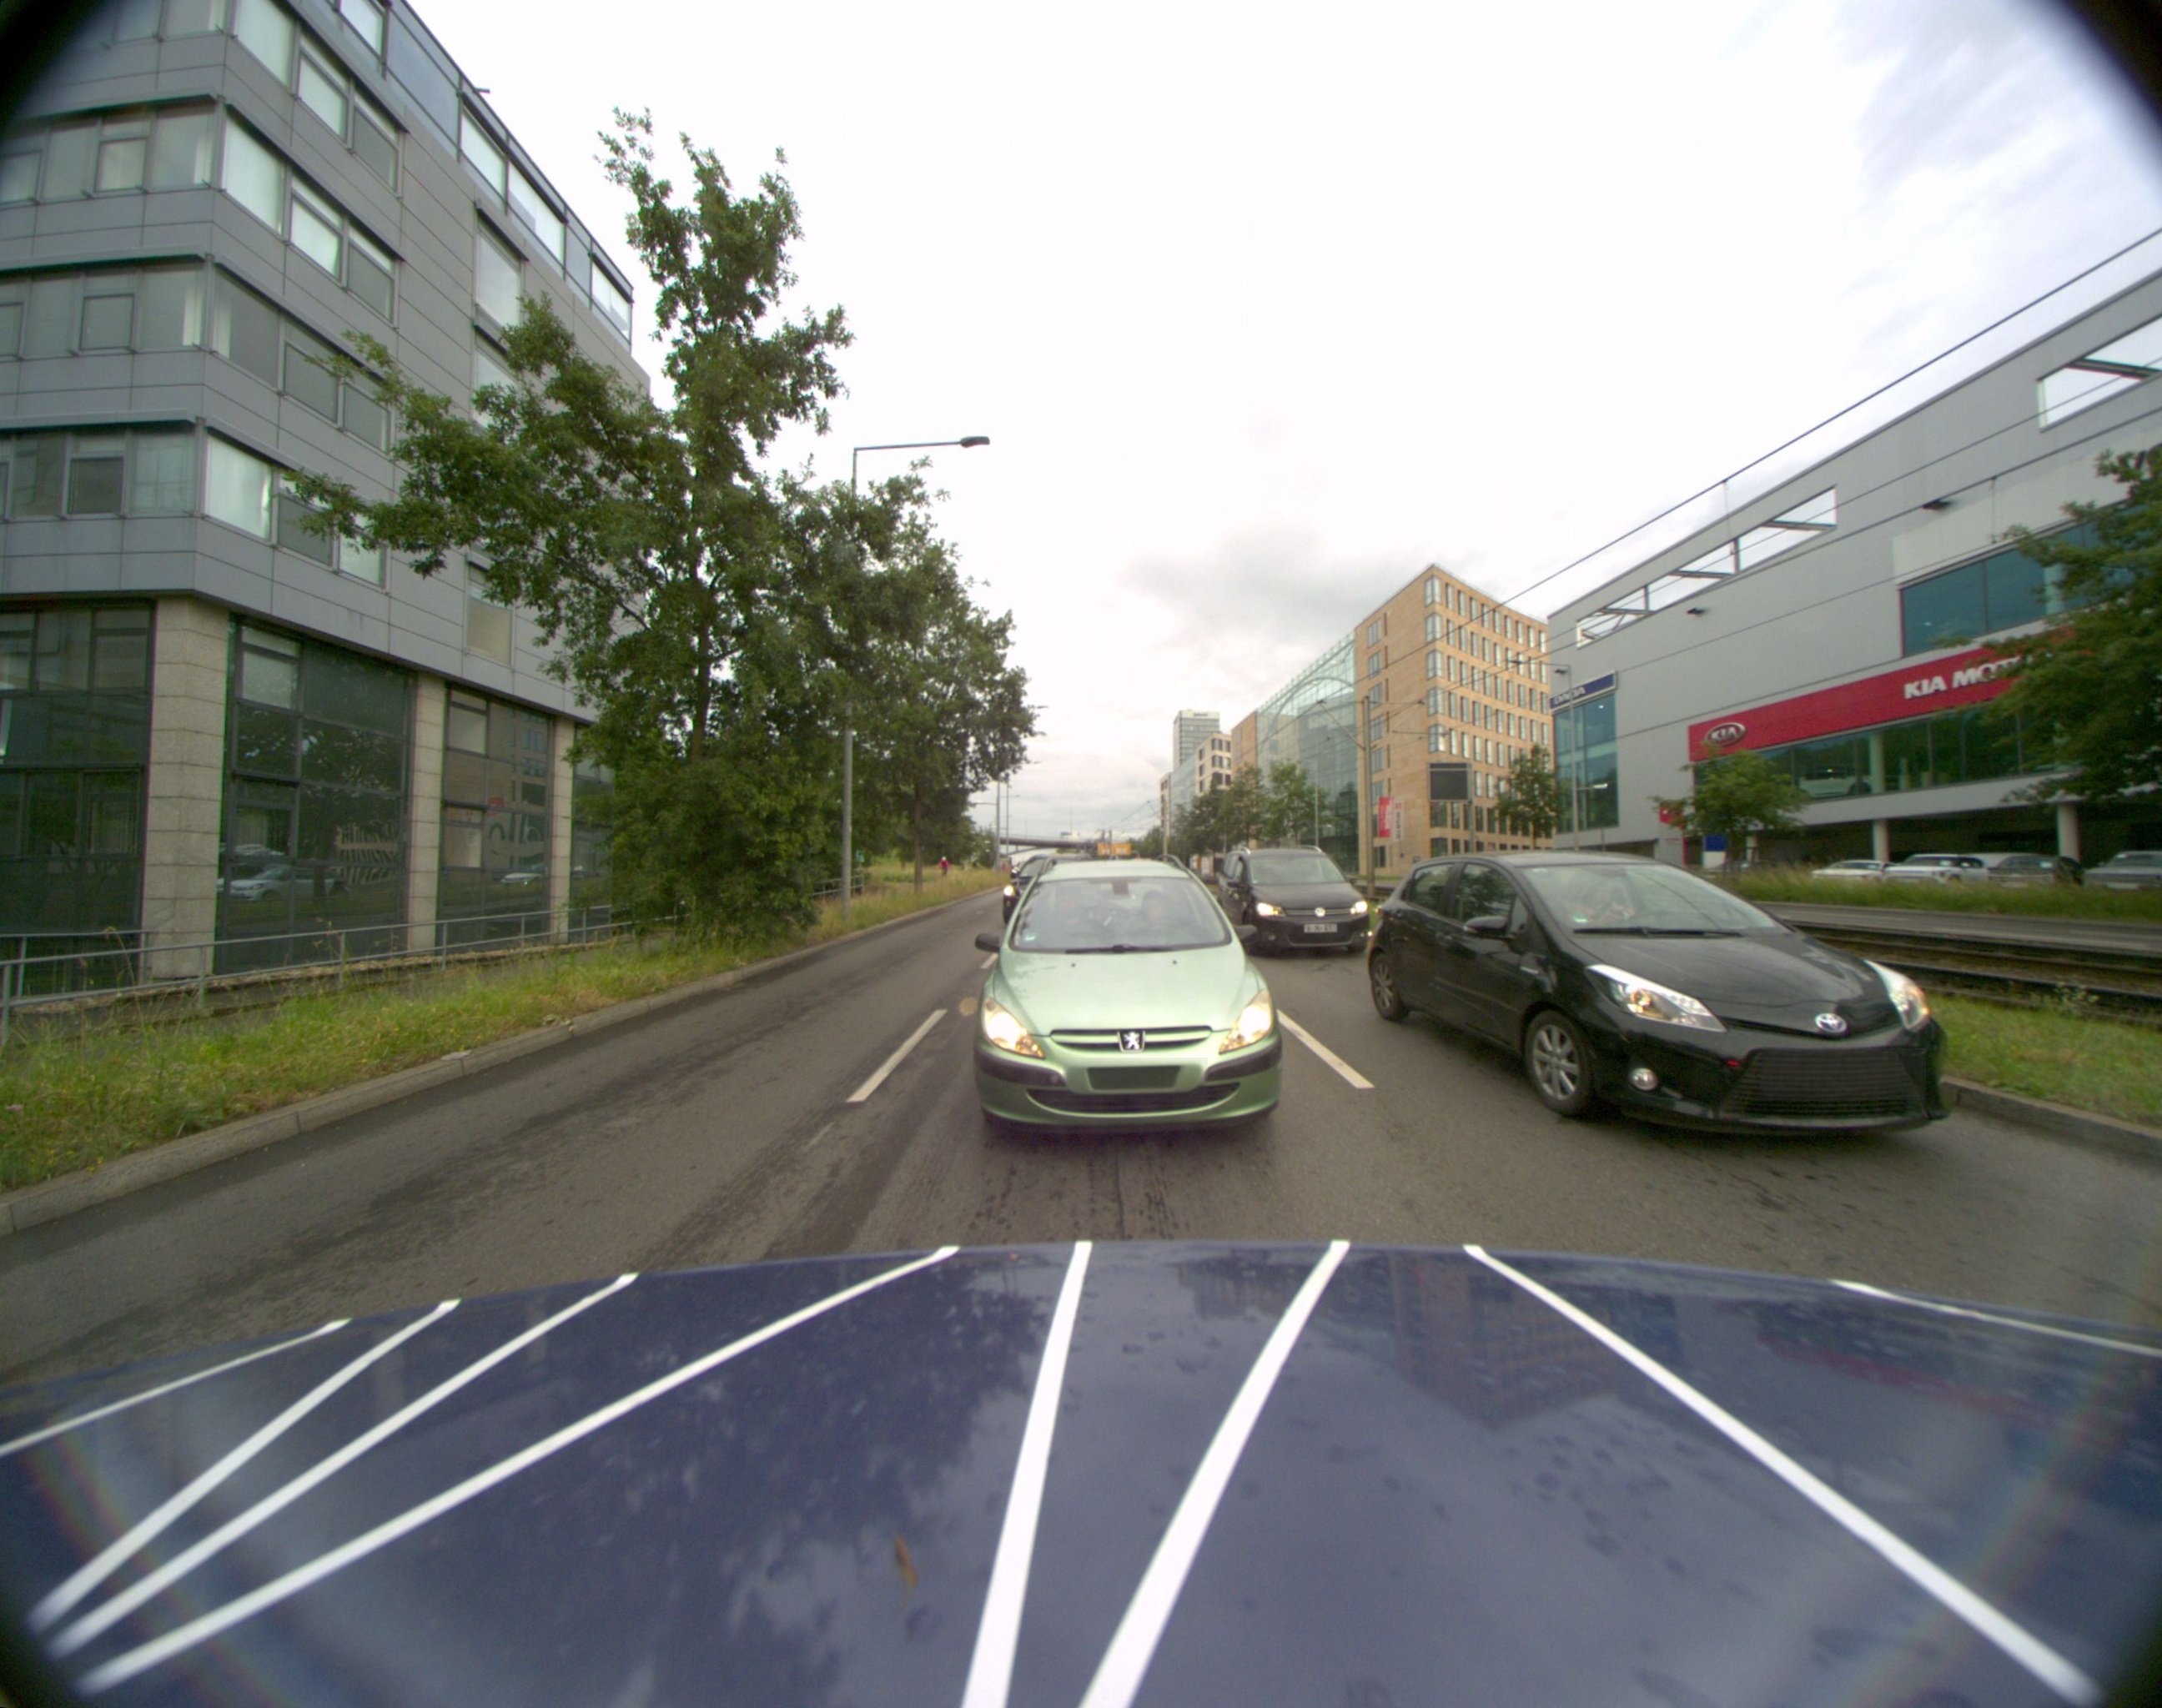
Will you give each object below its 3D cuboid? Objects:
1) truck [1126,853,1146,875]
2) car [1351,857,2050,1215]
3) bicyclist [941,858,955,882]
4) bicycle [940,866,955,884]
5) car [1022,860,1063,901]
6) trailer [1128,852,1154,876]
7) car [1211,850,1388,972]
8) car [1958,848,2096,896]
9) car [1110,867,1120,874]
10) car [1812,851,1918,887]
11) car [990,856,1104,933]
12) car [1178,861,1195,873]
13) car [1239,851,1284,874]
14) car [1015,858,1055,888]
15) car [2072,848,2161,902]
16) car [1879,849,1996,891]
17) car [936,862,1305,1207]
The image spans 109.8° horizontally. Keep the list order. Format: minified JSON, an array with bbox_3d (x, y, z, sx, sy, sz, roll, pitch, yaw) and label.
[{"bbox_3d":[11.009,1.902,153.047,3.144,4.219,7.026,2,0,-3],"label":"truck"},{"bbox_3d":[3.429,0.810,5.274,1.704,1.523,3.826,-1,0,-1],"label":"car"},{"bbox_3d":[-8.855,1.055,50.612,0.647,1.569,0.855,-2,0,1],"label":"bicyclist"},{"bbox_3d":[-8.861,1.396,50.617,0.582,1.082,1.906,-2,0,1],"label":"bicycle"},{"bbox_3d":[-1.545,1.001,30.025,1.518,1.495,3.167,-1,0,-4],"label":"car"},{"bbox_3d":[11.397,1.876,146.588,3.143,4.304,13.277,2,0,-3],"label":"trailer"},{"bbox_3d":[3.343,0.781,12.523,1.786,1.597,4.318,-2,0,2],"label":"car"},{"bbox_3d":[31.602,0.573,25.394,3.528,1.344,1.696,-4,1,-17],"label":"car"},{"bbox_3d":[7.331,3.545,164.183,1.655,1.428,3.878,-1,1,-4],"label":"car"},{"bbox_3d":[31.741,0.581,30.780,3.668,1.181,1.696,-4,1,-22],"label":"car"},{"bbox_3d":[-0.707,0.912,18.980,1.757,1.649,4.342,-1,0,12],"label":"car"},{"bbox_3d":[14.225,1.799,102.655,1.589,1.504,4.101,1,0,-3],"label":"car"},{"bbox_3d":[14.000,0.655,59.250,1.999,1.709,4.839,1,0,-4],"label":"car"},{"bbox_3d":[-2.485,0.988,41.776,1.828,1.495,3.766,-1,0,1],"label":"car"},{"bbox_3d":[32.026,0.593,22.856,3.528,1.344,1.696,-4,1,-20],"label":"car"},{"bbox_3d":[31.763,0.565,28.175,3.668,1.287,1.696,-4,1,-22],"label":"car"},{"bbox_3d":[0.172,0.871,5.756,1.704,1.523,4.370,-1,0,-1],"label":"car"}]
